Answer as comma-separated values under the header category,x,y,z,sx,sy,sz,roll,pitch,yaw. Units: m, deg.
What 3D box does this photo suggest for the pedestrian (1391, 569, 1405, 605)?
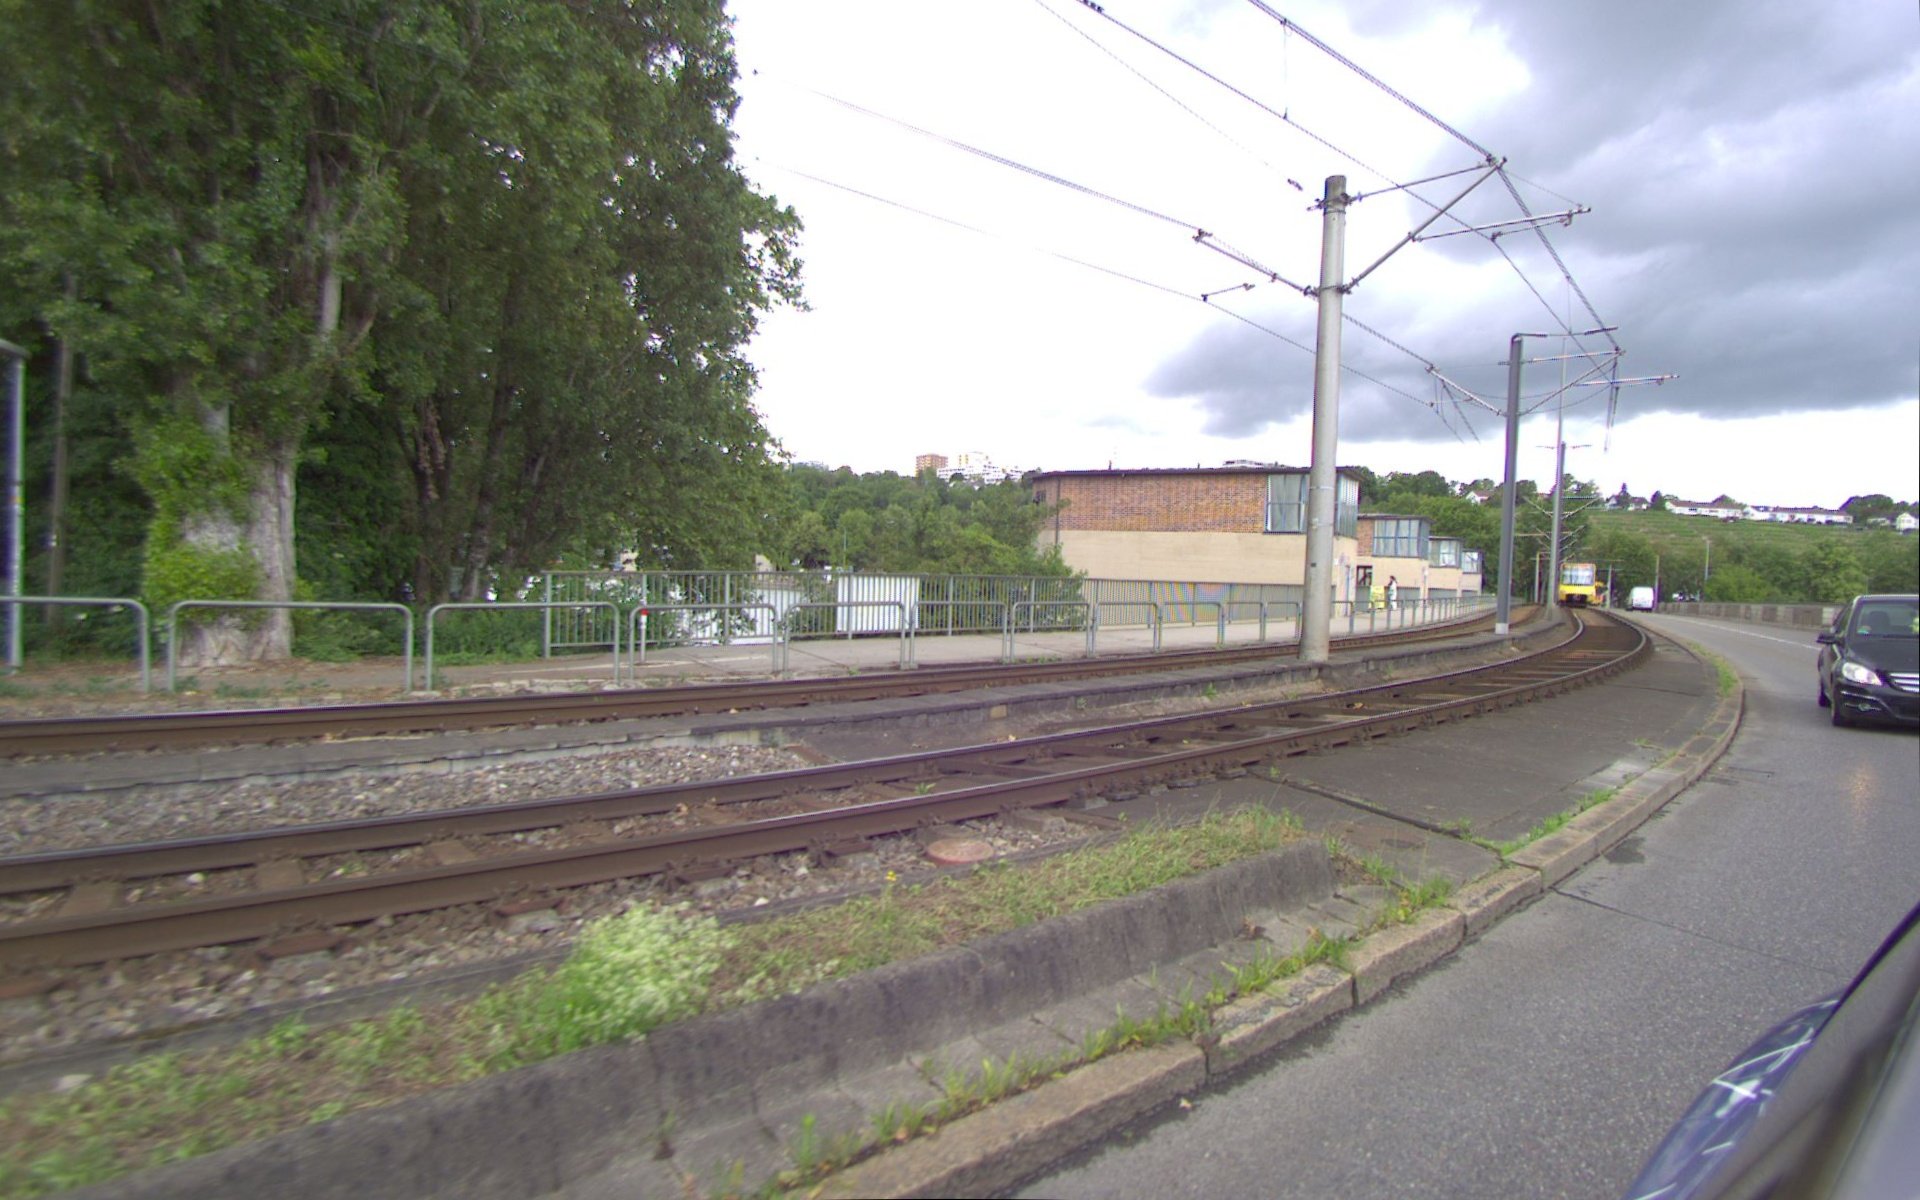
category,x,y,z,sx,sy,sz,roll,pitch,yaw
pedestrian,20.995,-0.621,48.506,0.507,1.685,0.349,2,2,27

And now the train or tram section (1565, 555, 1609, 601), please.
category,x,y,z,sx,sy,sz,roll,pitch,yaw
train or tram section,57.342,-2.020,92.422,3.012,3.966,9.330,3,2,33

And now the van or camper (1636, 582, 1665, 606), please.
category,x,y,z,sx,sy,sz,roll,pitch,yaw
van or camper,74.002,-0.690,108.559,2.139,2.506,4.660,1,1,30

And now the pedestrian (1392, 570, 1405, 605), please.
category,x,y,z,sx,sy,sz,roll,pitch,yaw
pedestrian,21.176,-0.614,48.874,0.507,1.685,0.349,2,2,27

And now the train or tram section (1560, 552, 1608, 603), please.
category,x,y,z,sx,sy,sz,roll,pitch,yaw
train or tram section,52.214,-1.899,84.599,3.012,3.966,9.330,3,2,33

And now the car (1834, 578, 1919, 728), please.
category,x,y,z,sx,sy,sz,roll,pitch,yaw
car,12.032,0.577,12.373,1.856,1.642,3.937,0,0,44
